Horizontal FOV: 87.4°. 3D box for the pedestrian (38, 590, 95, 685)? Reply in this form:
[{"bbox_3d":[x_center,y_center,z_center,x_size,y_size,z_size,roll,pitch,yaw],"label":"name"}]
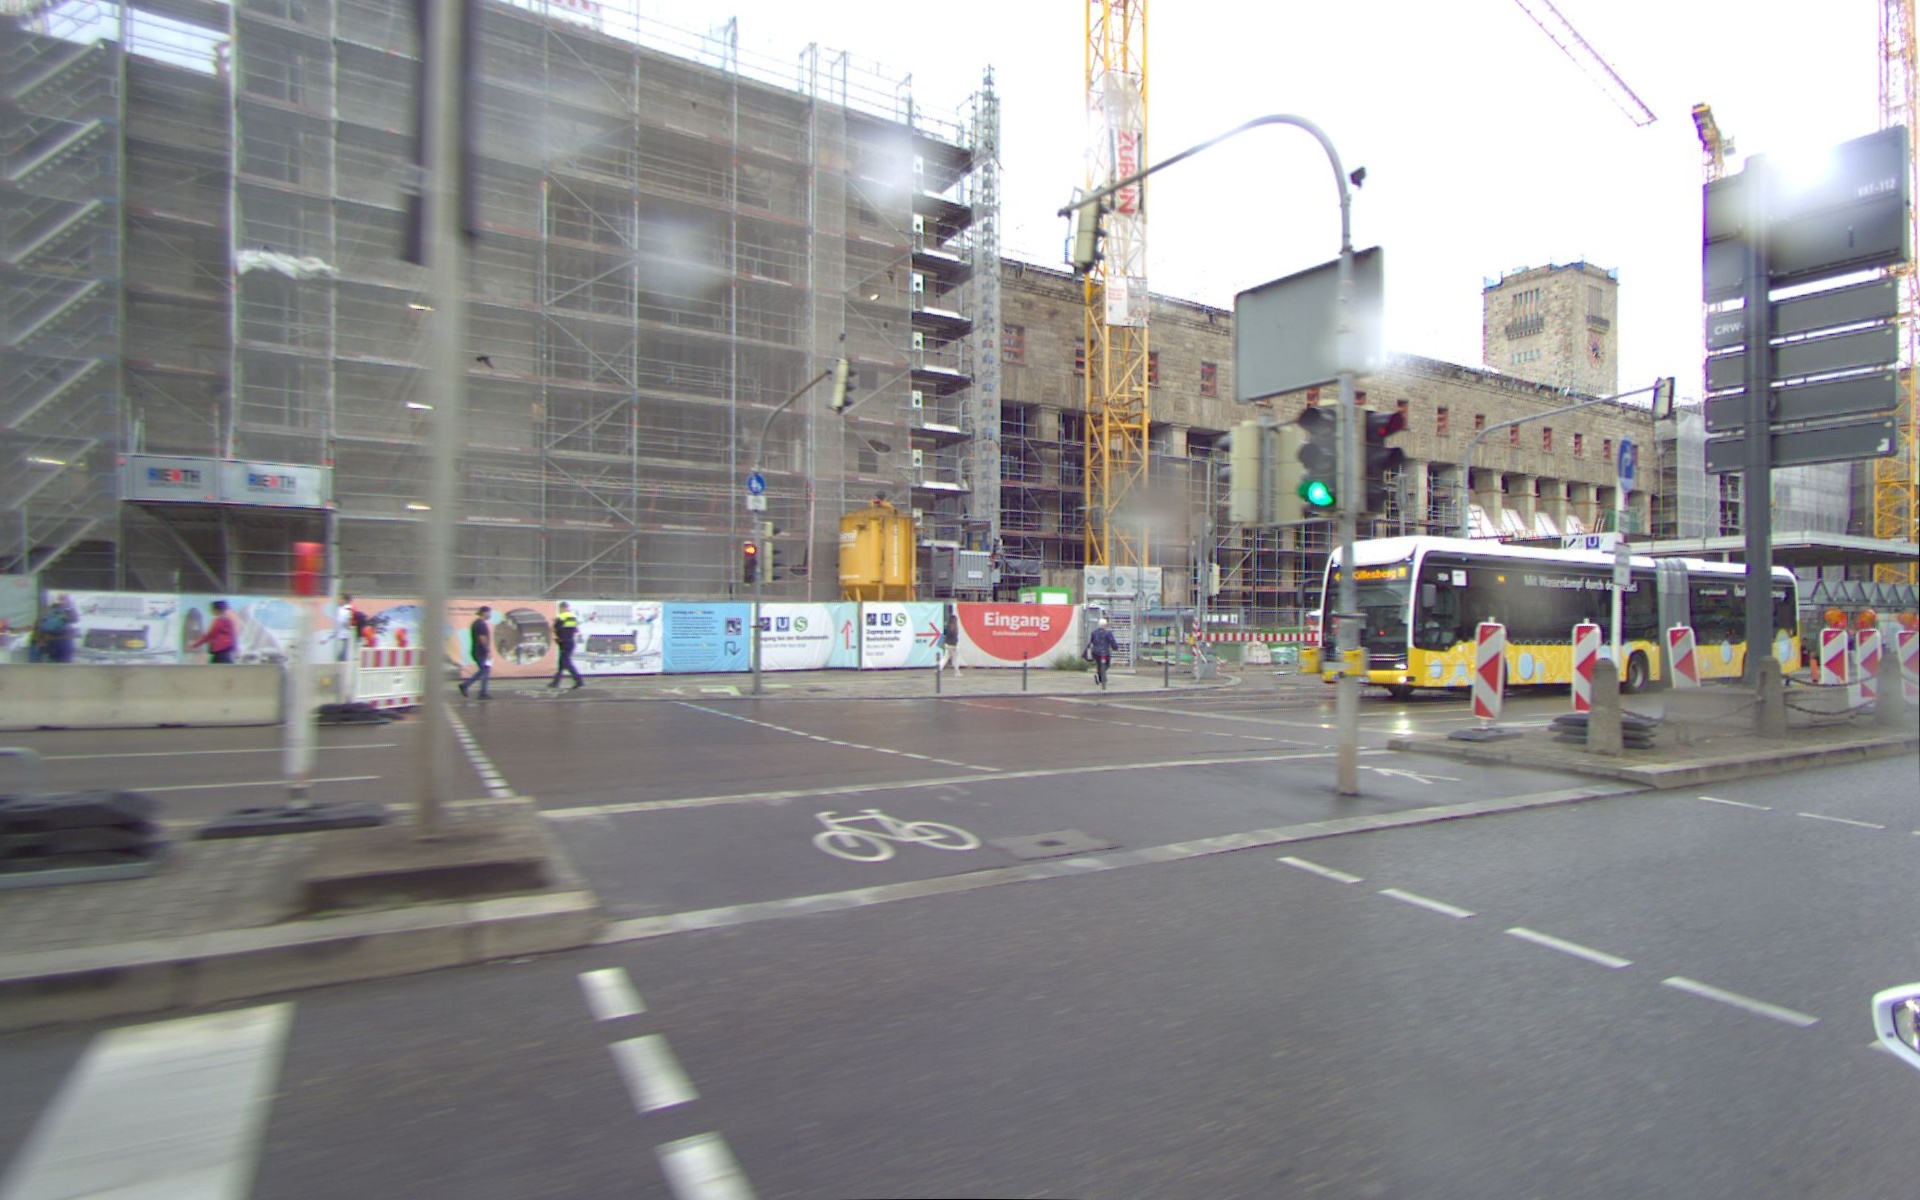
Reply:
[{"bbox_3d":[-17.906,0.745,20.137,0.709,1.860,0.478,2,0,-29],"label":"pedestrian"}]

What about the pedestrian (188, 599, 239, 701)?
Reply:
[{"bbox_3d":[-13.155,0.877,17.715,0.613,1.740,0.794,2,-2,-33],"label":"pedestrian"}]

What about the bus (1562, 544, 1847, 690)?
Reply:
[{"bbox_3d":[21.506,0.577,28.754,10.090,3.649,2.656,2,0,-30],"label":"bus"}]

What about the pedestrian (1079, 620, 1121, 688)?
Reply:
[{"bbox_3d":[3.403,1.295,24.423,0.772,1.581,0.875,2,0,22],"label":"pedestrian"}]

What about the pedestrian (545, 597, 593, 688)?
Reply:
[{"bbox_3d":[-8.229,0.890,21.147,0.810,1.860,0.576,2,0,-29],"label":"pedestrian"}]

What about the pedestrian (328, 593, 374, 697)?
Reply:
[{"bbox_3d":[-11.538,0.839,19.031,0.614,1.915,0.793,2,0,-37],"label":"pedestrian"}]

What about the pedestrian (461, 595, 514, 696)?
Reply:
[{"bbox_3d":[-8.950,0.855,19.026,0.810,1.860,0.576,2,0,-29],"label":"pedestrian"}]

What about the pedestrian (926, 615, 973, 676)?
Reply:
[{"bbox_3d":[-0.283,1.214,26.946,0.890,1.584,0.910,2,0,-33],"label":"pedestrian"}]

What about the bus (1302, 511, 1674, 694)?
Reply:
[{"bbox_3d":[12.684,0.211,23.667,10.117,3.649,2.656,2,0,-30],"label":"bus"}]
